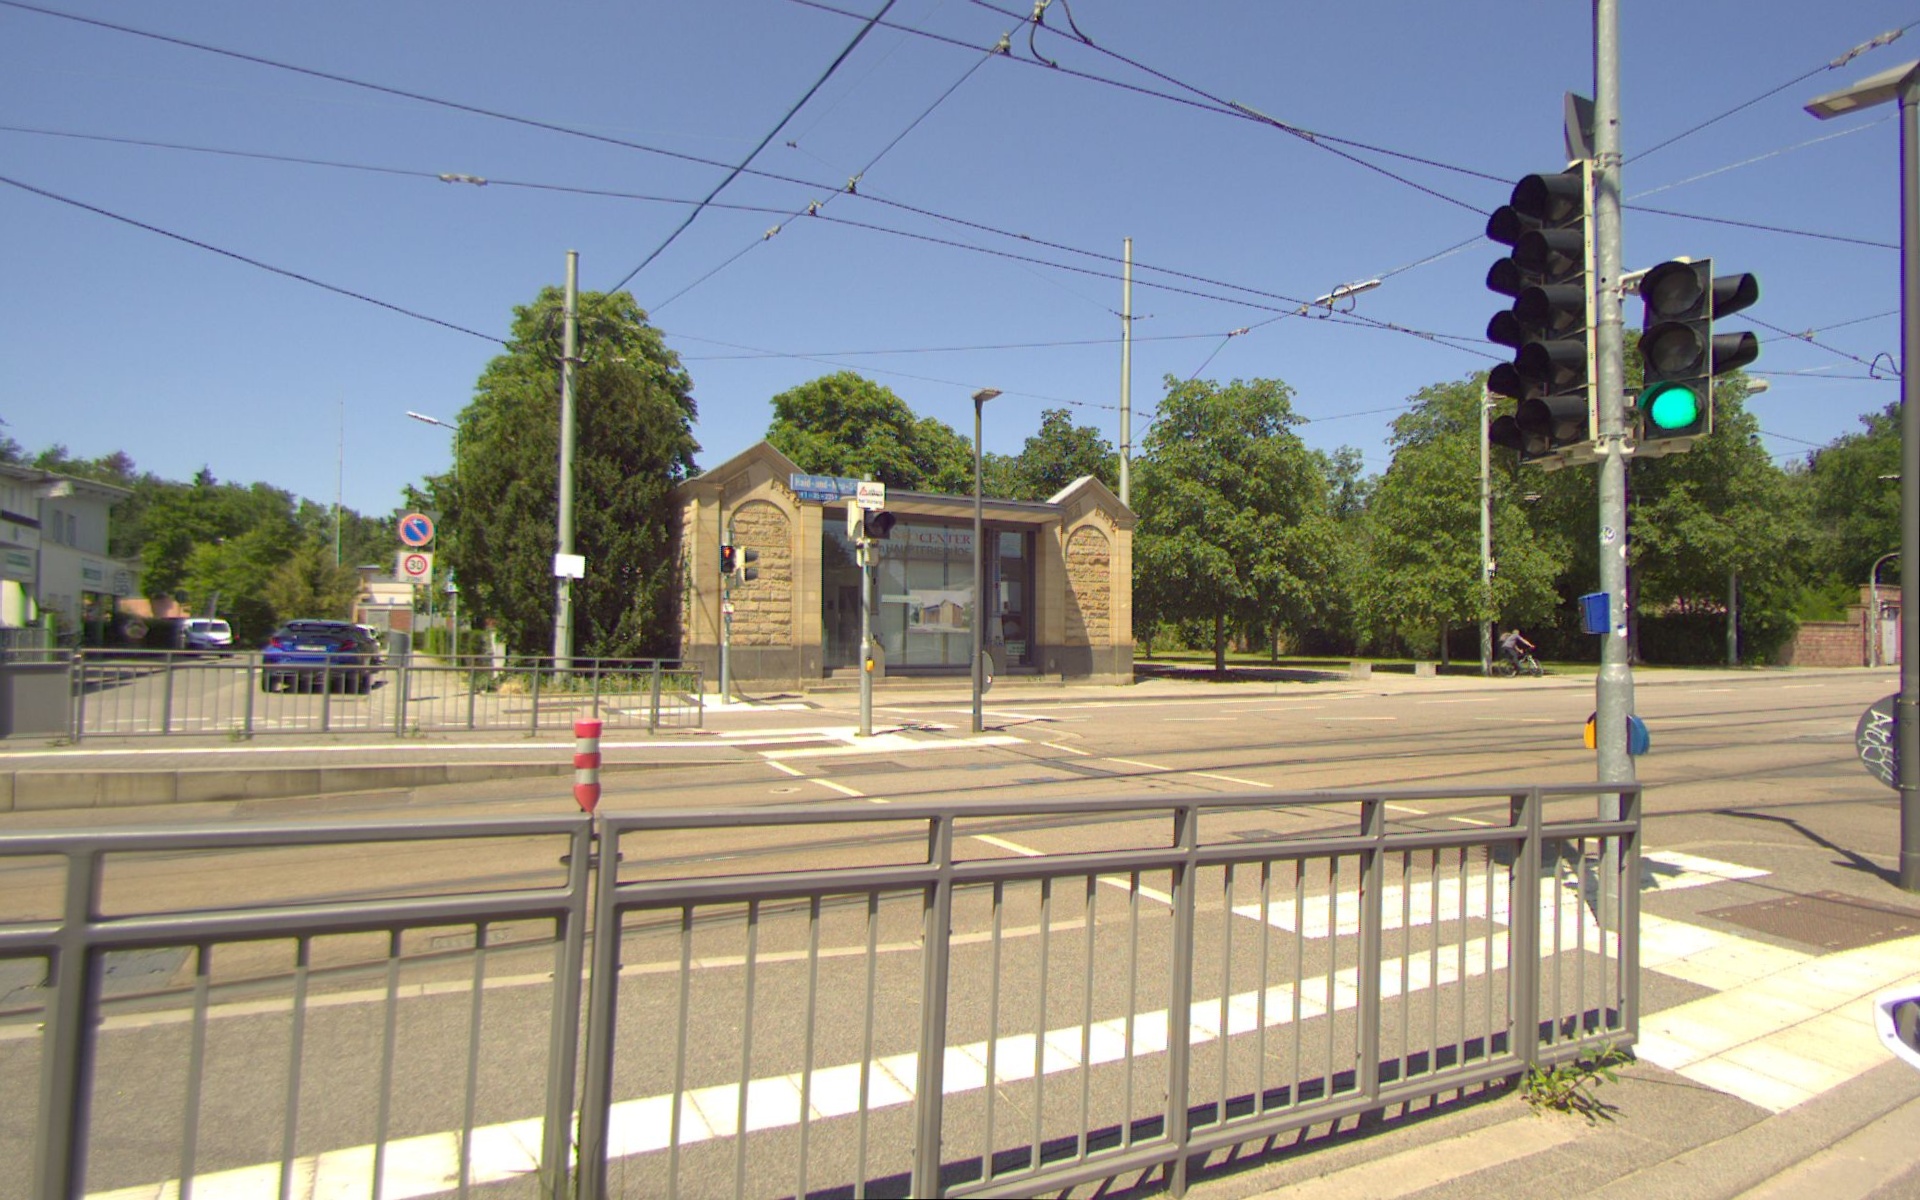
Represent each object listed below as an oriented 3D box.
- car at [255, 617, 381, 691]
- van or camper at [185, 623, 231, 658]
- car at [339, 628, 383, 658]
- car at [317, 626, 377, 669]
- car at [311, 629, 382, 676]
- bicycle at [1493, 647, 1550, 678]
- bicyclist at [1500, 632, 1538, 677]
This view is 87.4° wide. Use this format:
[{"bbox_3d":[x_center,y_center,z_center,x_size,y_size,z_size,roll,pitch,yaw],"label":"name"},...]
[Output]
[{"bbox_3d":[-14.140,1.151,22.334,1.799,1.471,3.935,1,-2,-25],"label":"car"},{"bbox_3d":[-35.705,1.906,47.724,1.675,1.587,3.786,2,-2,-37],"label":"van or camper"},{"bbox_3d":[-24.856,1.805,41.755,1.403,1.200,3.339,1,-3,-28],"label":"car"},{"bbox_3d":[-22.483,1.752,36.950,1.624,1.465,3.786,1,-3,-28],"label":"car"},{"bbox_3d":[-19.277,1.642,31.686,1.624,1.388,3.787,1,-3,-27],"label":"car"},{"bbox_3d":[19.492,2.158,34.869,2.077,1.055,0.712,1,-2,-28],"label":"bicycle"},{"bbox_3d":[19.359,1.884,34.798,0.834,1.551,0.847,1,-2,-27],"label":"bicyclist"}]
